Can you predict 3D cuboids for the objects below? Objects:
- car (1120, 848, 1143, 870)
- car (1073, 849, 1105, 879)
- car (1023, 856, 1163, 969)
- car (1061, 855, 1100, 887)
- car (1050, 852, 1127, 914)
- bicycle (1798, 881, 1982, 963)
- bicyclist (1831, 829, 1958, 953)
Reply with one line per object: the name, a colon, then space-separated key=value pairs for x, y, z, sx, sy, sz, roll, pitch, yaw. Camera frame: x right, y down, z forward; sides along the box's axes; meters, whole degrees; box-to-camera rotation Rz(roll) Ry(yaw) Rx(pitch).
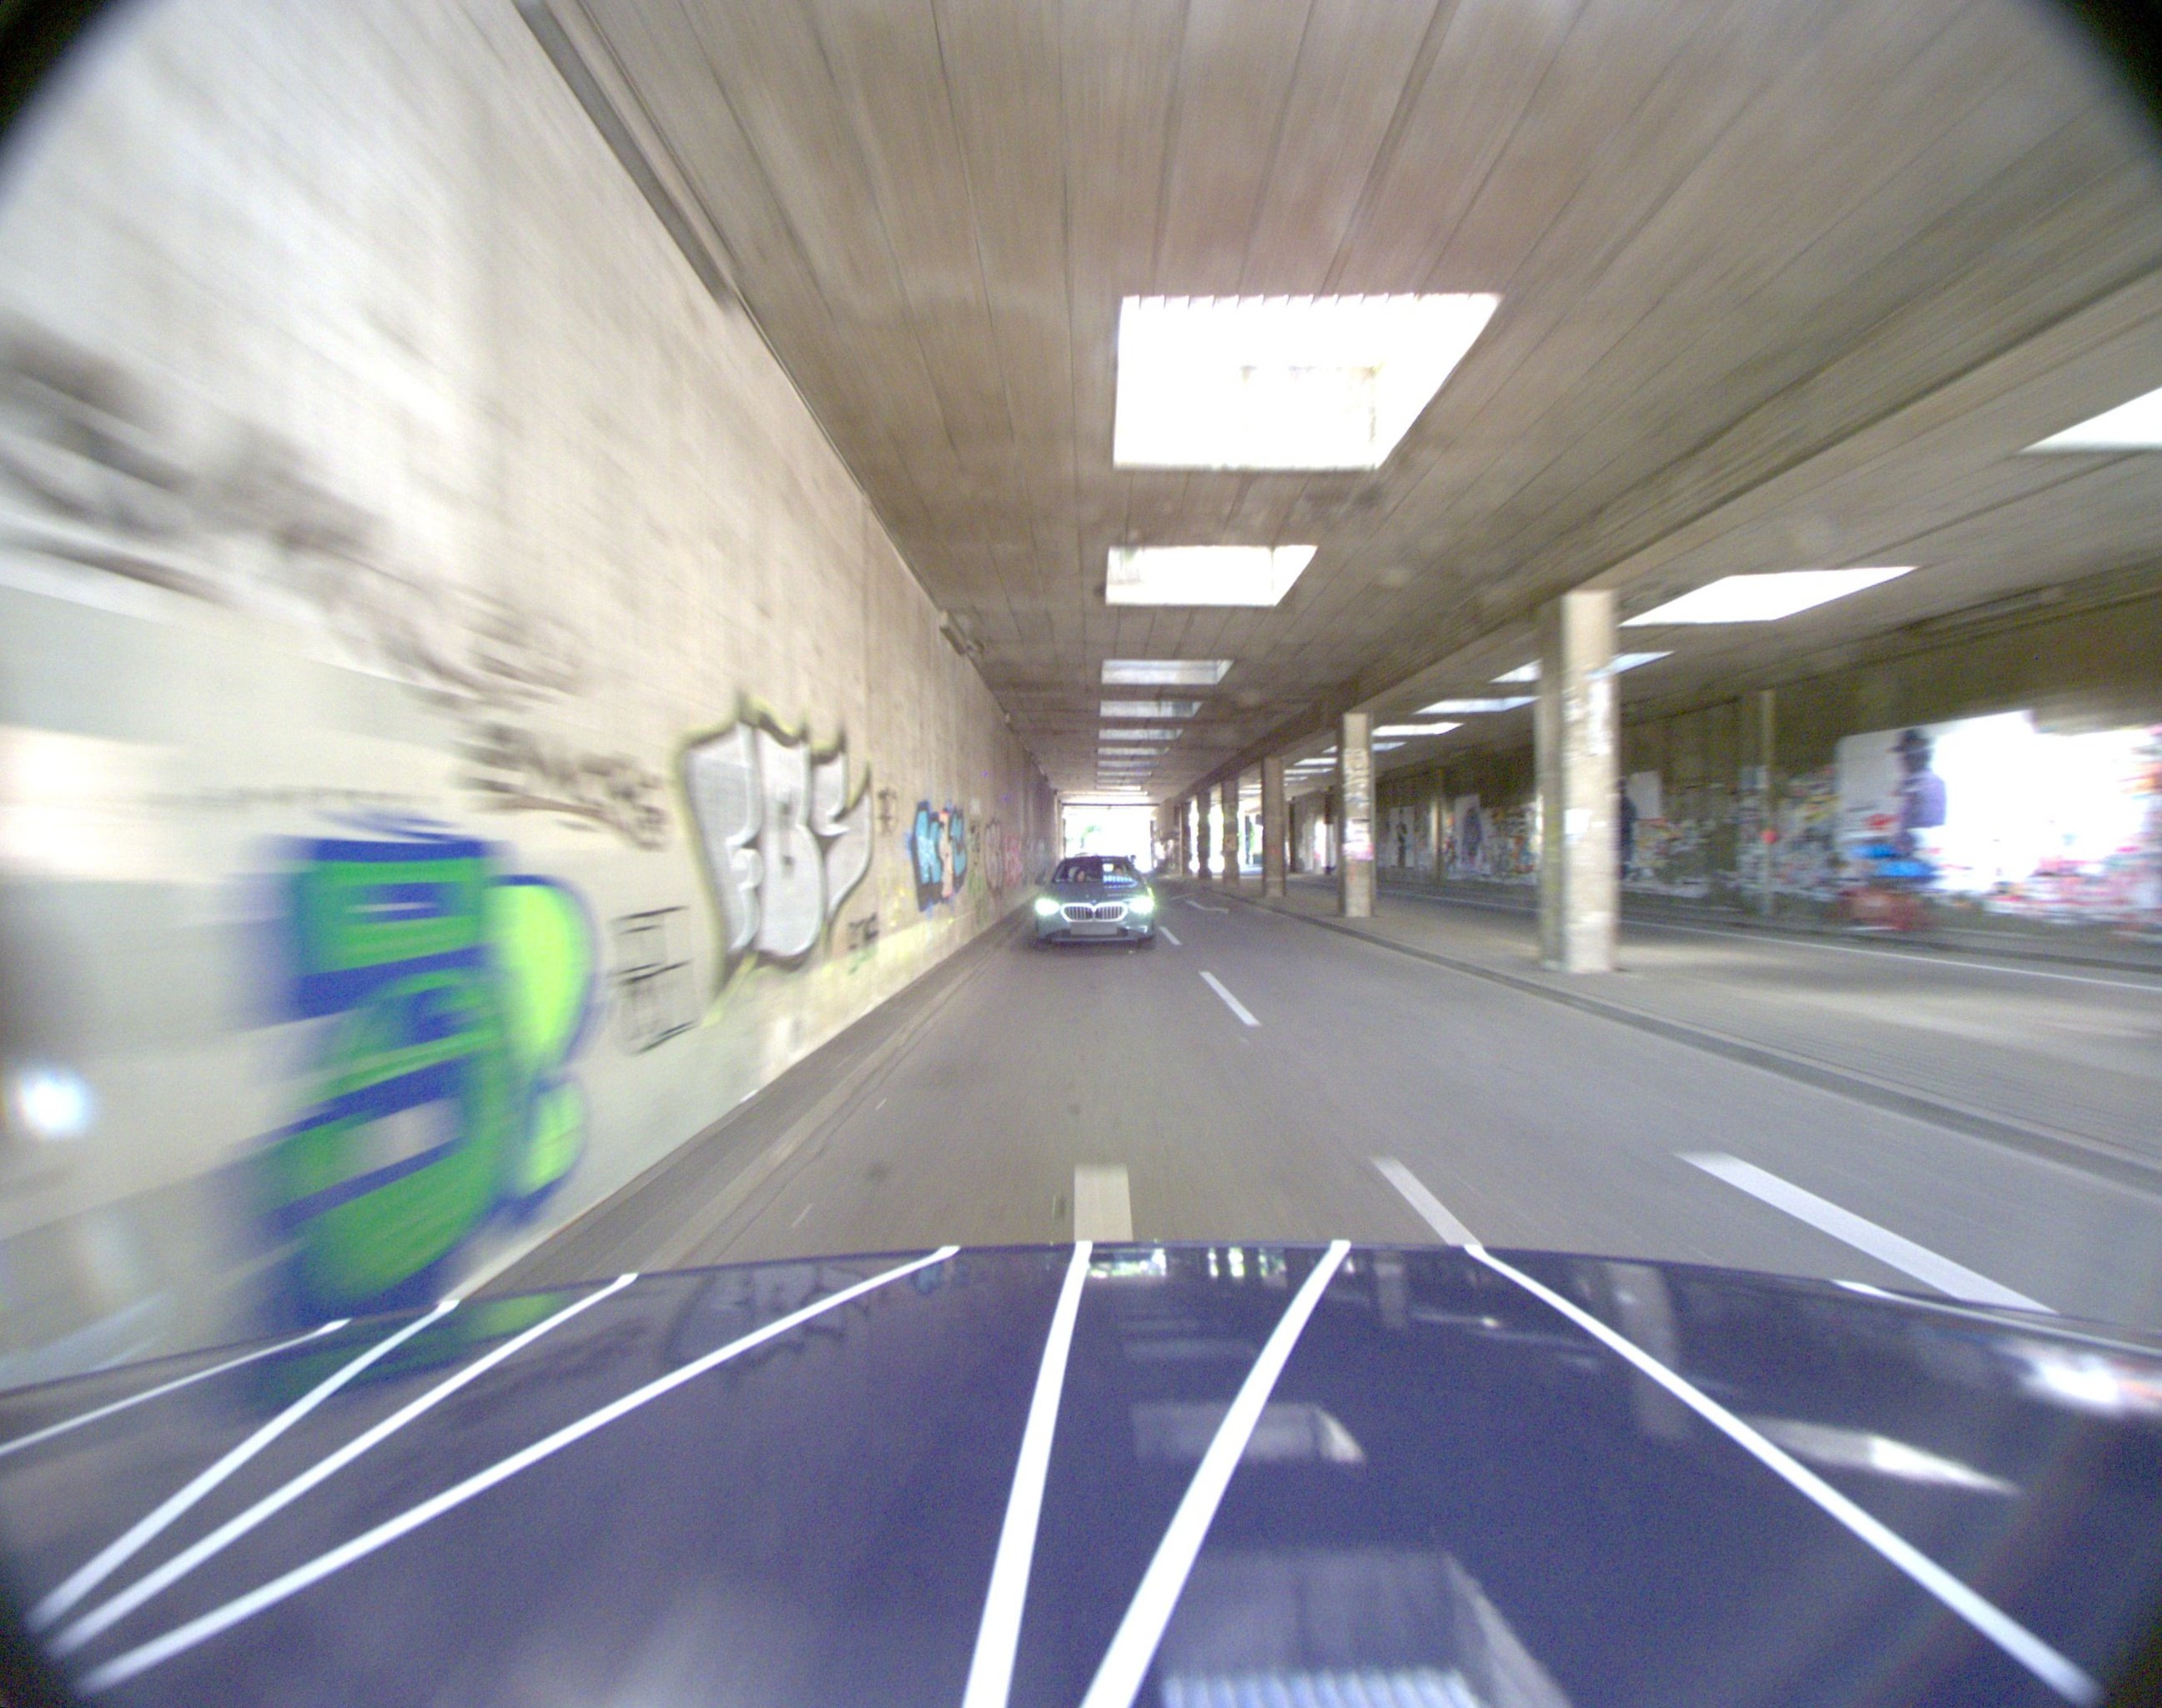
car: x=3.695 y=0.352 z=56.109 sx=1.616 sy=1.546 sz=4.013 roll=-1 pitch=1 yaw=2
car: x=0.484 y=0.516 z=41.775 sx=1.616 sy=1.546 sz=4.013 roll=-1 pitch=1 yaw=2
car: x=0.264 y=0.836 z=13.302 sx=1.957 sy=1.546 sz=5.040 roll=-1 pitch=0 yaw=2
car: x=0.031 y=0.764 z=35.608 sx=1.616 sy=1.367 sz=4.199 roll=-1 pitch=0 yaw=2
car: x=0.279 y=0.745 z=21.578 sx=1.957 sy=1.546 sz=4.248 roll=-1 pitch=0 yaw=2
bicycle: x=11.681 y=0.940 z=11.077 sx=0.700 sy=1.083 sz=1.860 roll=-1 pitch=-1 yaw=1
bicyclist: x=11.638 y=0.517 z=10.910 sx=0.747 sy=1.701 sz=0.967 roll=-1 pitch=-1 yaw=0
